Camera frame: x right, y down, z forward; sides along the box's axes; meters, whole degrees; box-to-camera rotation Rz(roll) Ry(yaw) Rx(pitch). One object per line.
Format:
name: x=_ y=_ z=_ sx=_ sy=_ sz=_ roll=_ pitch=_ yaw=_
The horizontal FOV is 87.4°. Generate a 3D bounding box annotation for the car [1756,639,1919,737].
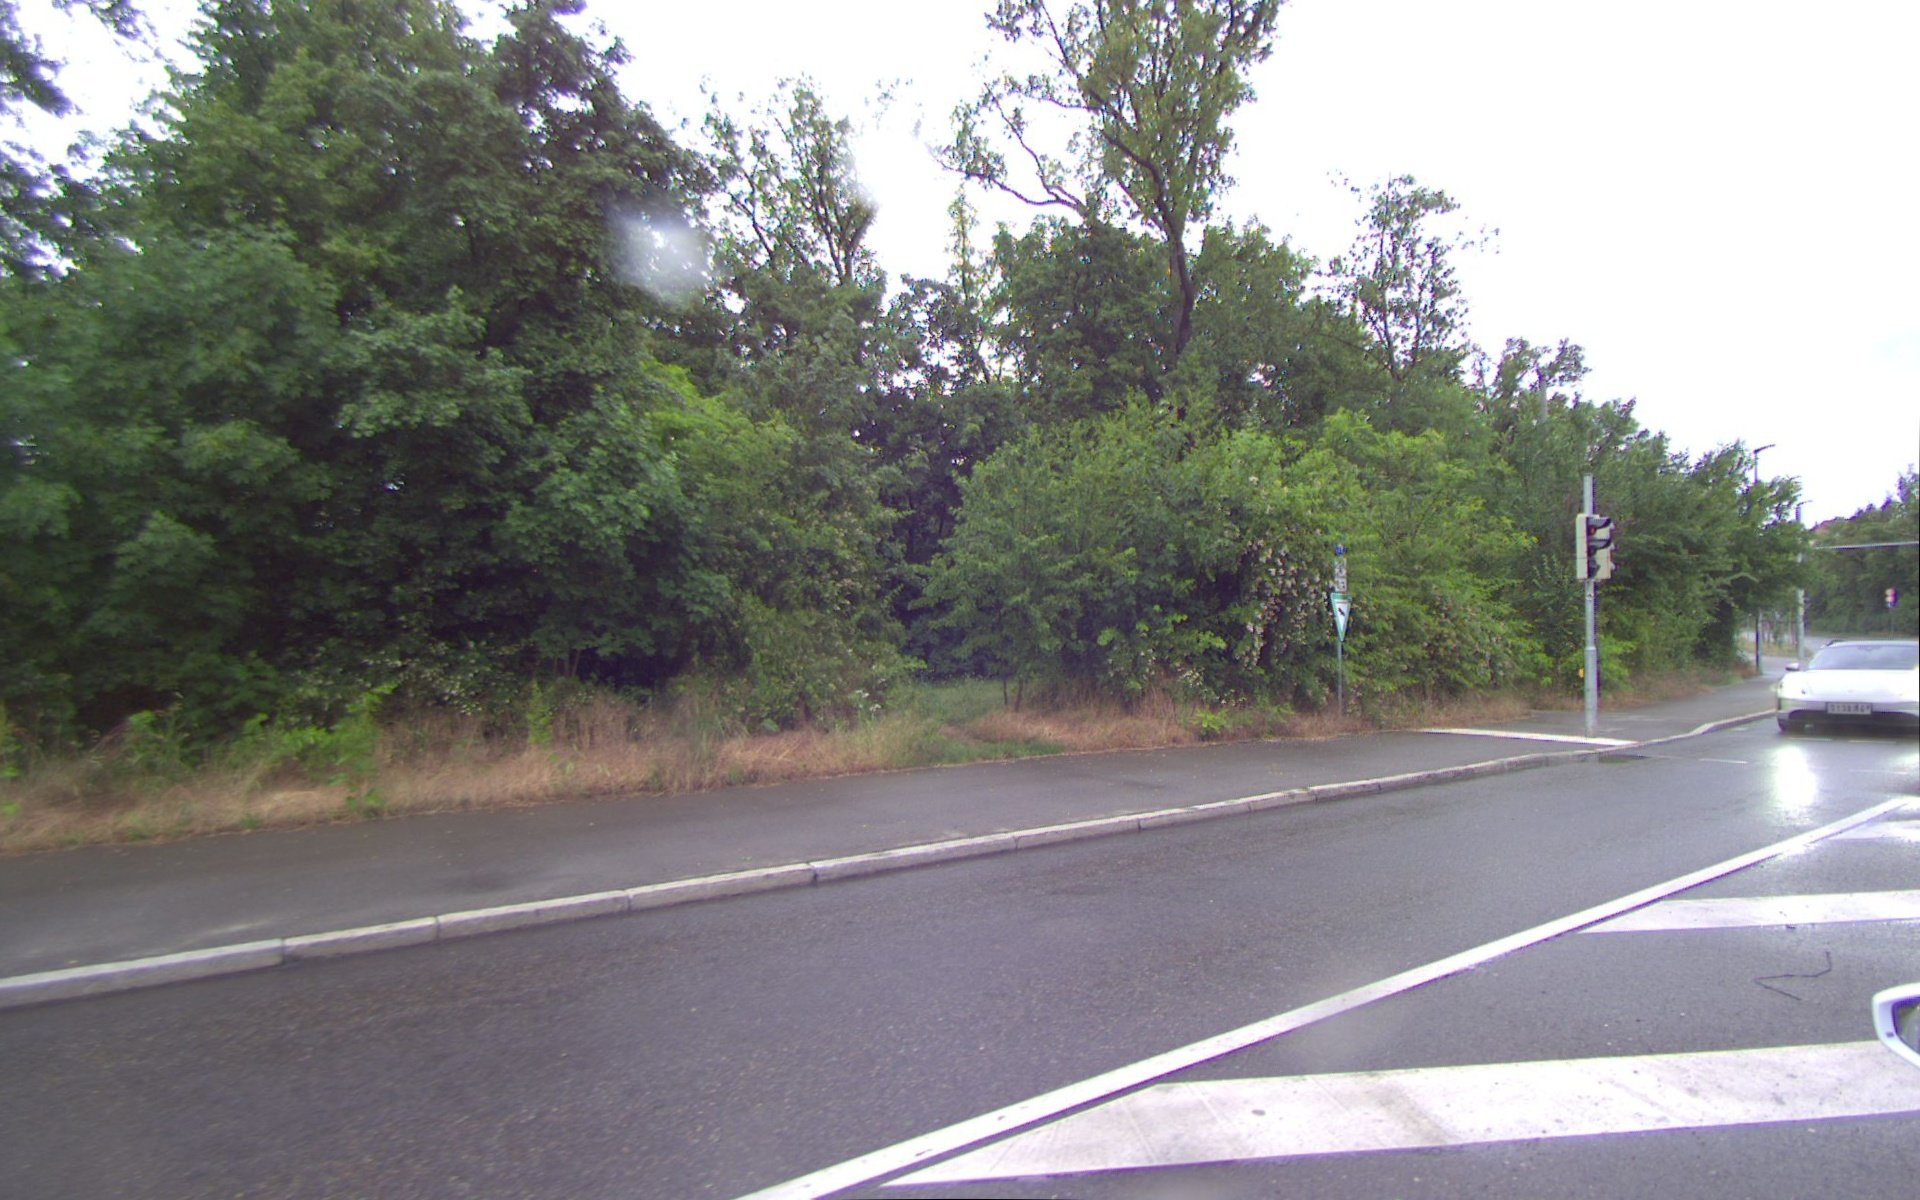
car: x=14.548 y=1.332 z=16.098 sx=4.324 sy=1.328 sz=1.977 roll=1 pitch=-4 yaw=-41
